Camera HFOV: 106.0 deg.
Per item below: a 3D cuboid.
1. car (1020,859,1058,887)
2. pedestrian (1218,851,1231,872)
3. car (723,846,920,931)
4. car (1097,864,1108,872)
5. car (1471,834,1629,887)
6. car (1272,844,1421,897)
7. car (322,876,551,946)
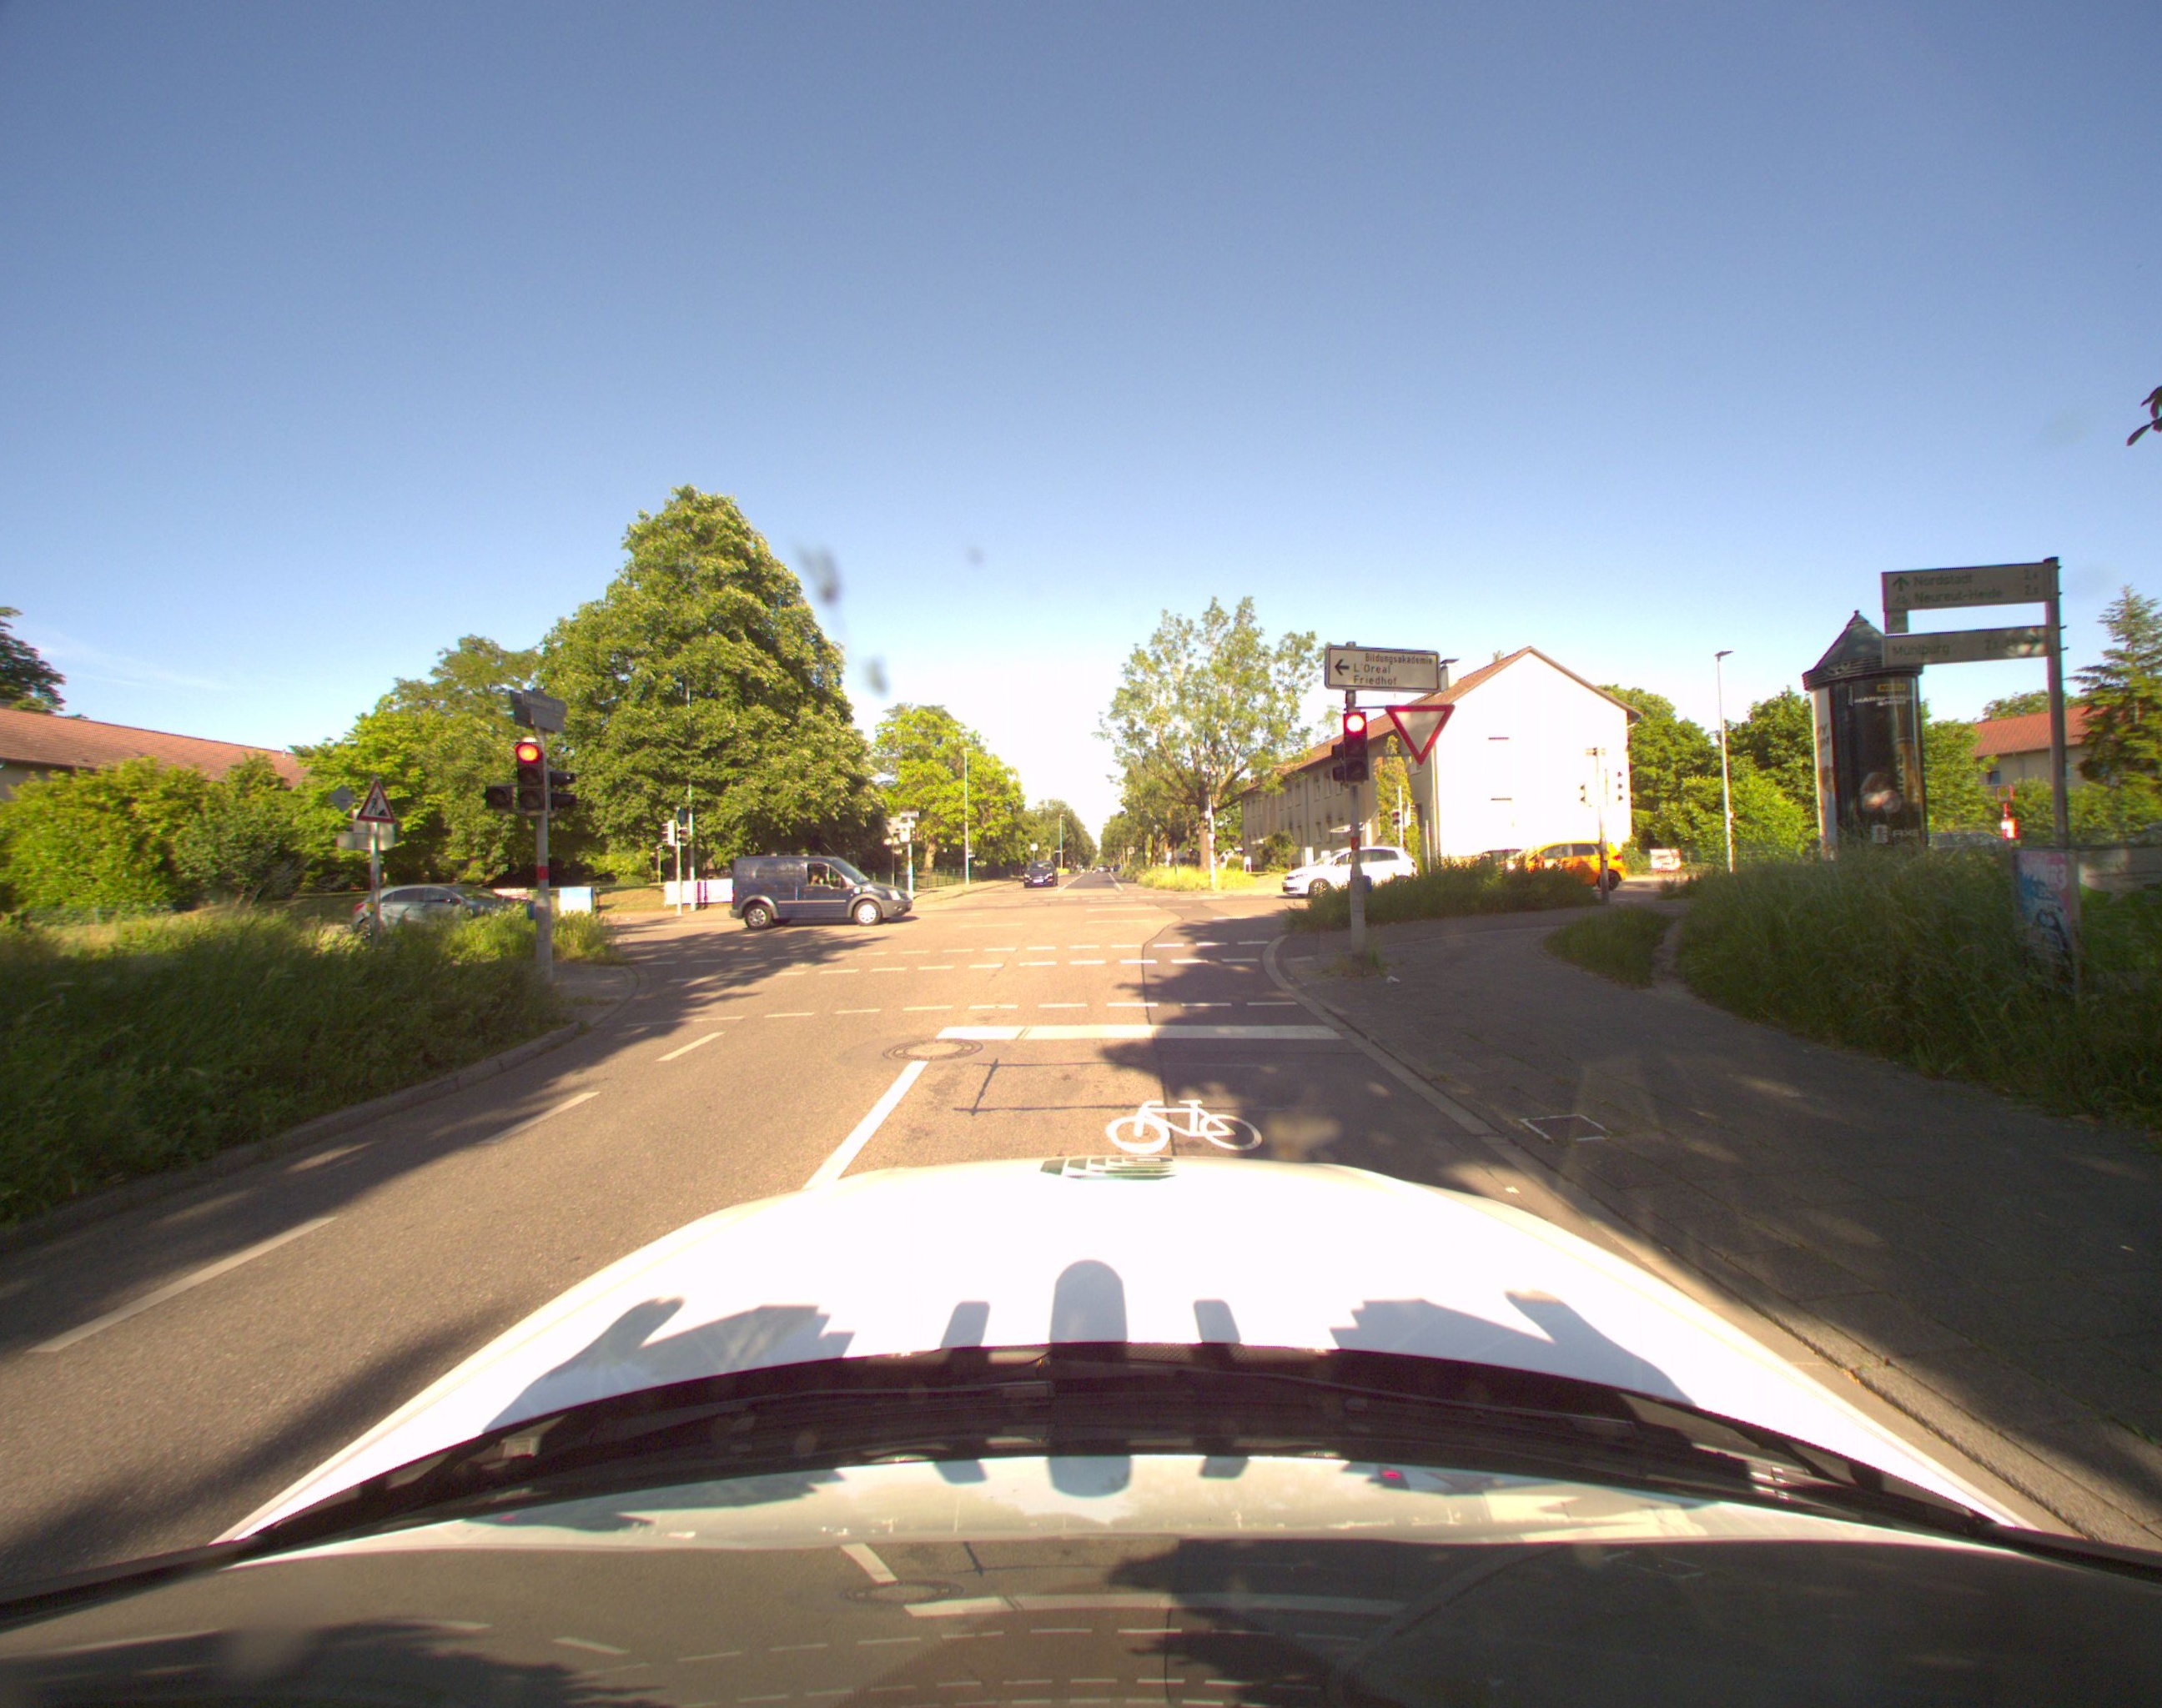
[{"bbox_3d":[-2.254,1.004,44.689,1.704,1.385,3.473,-2,0,3],"label":"car"},{"bbox_3d":[10.336,0.563,58.711,0.839,1.493,0.924,1,0,1],"label":"pedestrian"},{"bbox_3d":[-6.445,0.821,20.597,4.334,1.887,1.858,-2,0,-3],"label":"car"},{"bbox_3d":[3.896,2.523,146.387,1.838,1.461,3.531,-2,0,1],"label":"car"},{"bbox_3d":[14.737,0.215,25.763,3.965,1.582,1.761,-1,-1,8],"label":"car"},{"bbox_3d":[8.237,0.506,25.517,4.095,1.563,1.756,-1,-1,-1],"label":"car"},{"bbox_3d":[-16.429,1.420,20.931,4.270,1.489,1.913,-2,0,-1],"label":"car"}]
